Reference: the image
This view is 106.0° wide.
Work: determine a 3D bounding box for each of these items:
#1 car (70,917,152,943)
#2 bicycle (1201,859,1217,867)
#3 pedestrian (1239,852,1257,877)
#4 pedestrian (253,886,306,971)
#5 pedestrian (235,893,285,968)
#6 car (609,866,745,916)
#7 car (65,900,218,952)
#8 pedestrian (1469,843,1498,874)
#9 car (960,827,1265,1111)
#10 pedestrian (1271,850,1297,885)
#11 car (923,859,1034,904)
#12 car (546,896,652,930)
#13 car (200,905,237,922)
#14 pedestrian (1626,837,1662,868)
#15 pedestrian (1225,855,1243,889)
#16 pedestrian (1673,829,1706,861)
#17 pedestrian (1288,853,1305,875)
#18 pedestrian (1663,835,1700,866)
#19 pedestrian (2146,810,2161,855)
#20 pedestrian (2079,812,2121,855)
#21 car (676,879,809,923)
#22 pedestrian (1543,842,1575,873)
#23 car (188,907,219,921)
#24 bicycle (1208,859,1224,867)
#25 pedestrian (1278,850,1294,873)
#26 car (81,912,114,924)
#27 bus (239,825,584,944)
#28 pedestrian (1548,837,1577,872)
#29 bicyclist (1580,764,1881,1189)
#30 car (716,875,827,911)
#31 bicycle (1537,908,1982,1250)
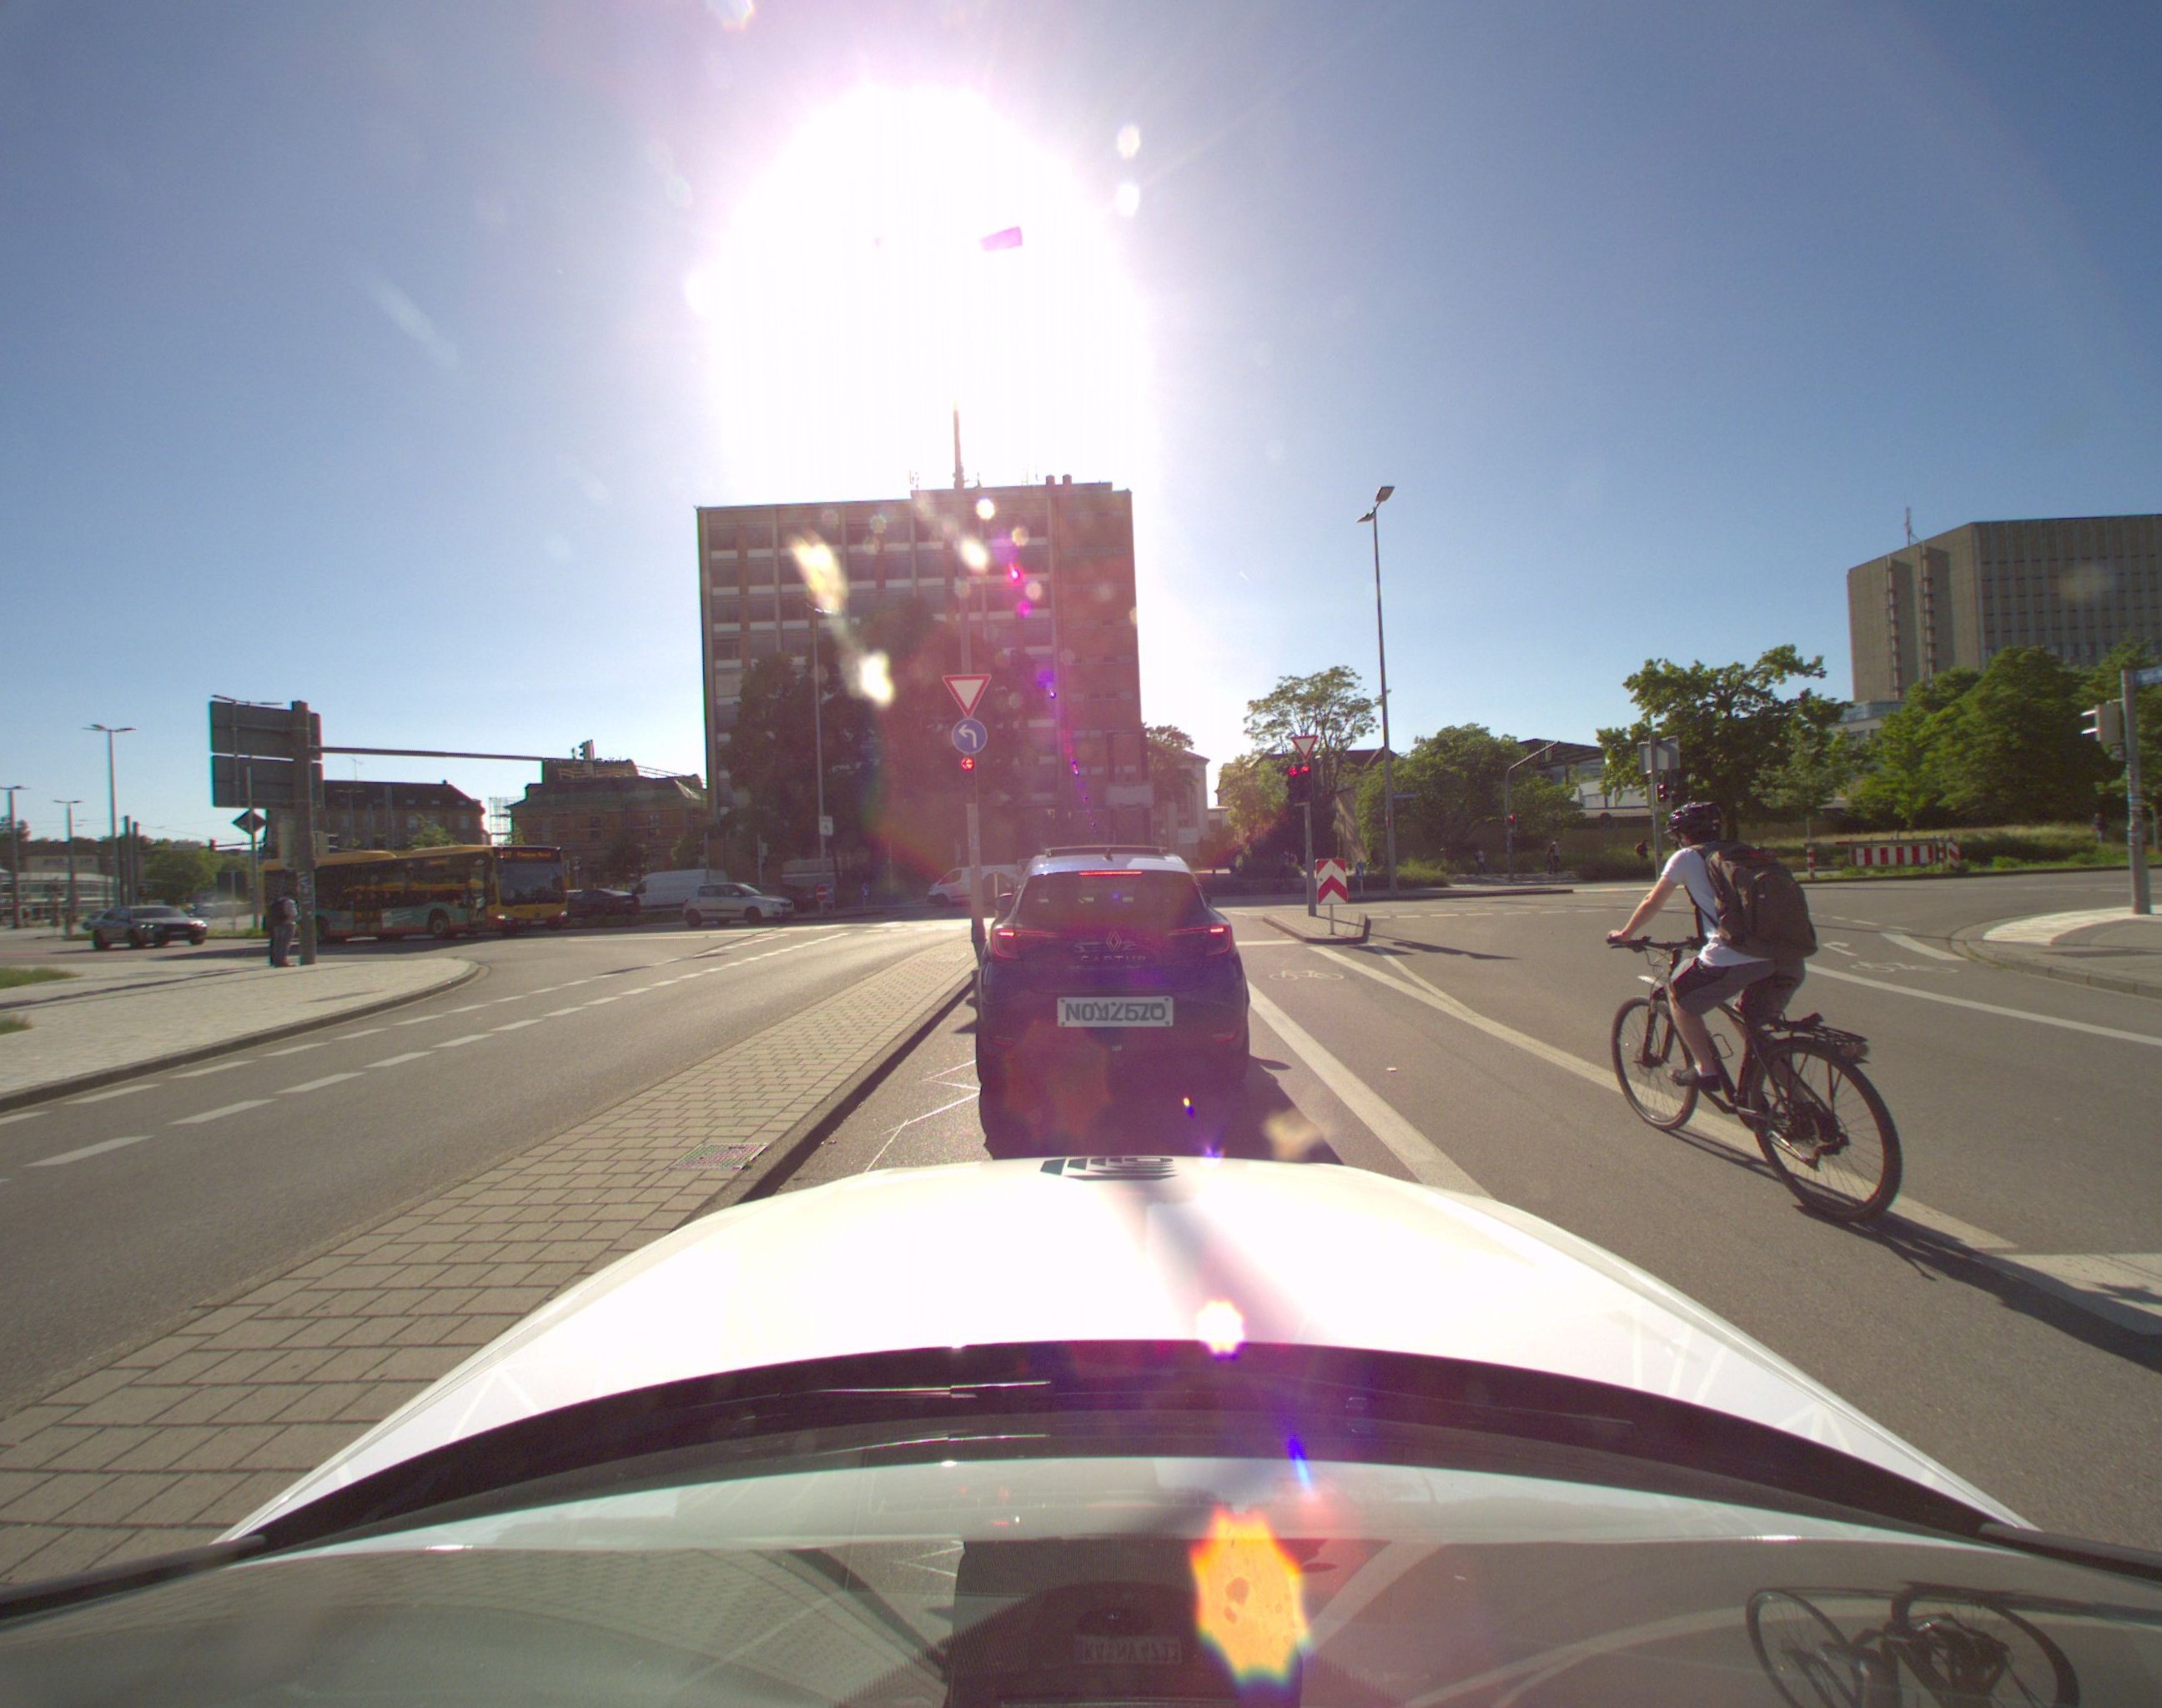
[{"bbox_3d":[-79.111,6.160,66.457,3.989,1.772,1.776,-2,0,-11],"label":"car"},{"bbox_3d":[15.554,1.078,99.000,1.764,0.893,0.766,-2,-1,2],"label":"bicycle"},{"bbox_3d":[13.927,0.896,67.977,1.152,2.013,1.165,-2,-1,2],"label":"pedestrian"},{"bbox_3d":[-18.199,1.680,18.496,0.673,1.855,0.608,-3,-1,25],"label":"pedestrian"},{"bbox_3d":[-19.216,1.780,19.068,0.627,1.697,0.608,-3,-1,25],"label":"pedestrian"},{"bbox_3d":[-23.399,2.120,47.208,6.877,2.547,3.028,-3,0,20],"label":"car"},{"bbox_3d":[-39.157,2.999,33.995,4.697,1.861,2.011,-3,-1,10],"label":"car"},{"bbox_3d":[20.741,0.216,41.989,1.078,1.521,0.933,-2,-1,11],"label":"pedestrian"},{"bbox_3d":[0.219,0.680,6.746,1.788,1.655,3.853,-1,0,1],"label":"car"},{"bbox_3d":[11.212,0.732,45.023,1.288,1.855,0.969,-3,-1,13],"label":"pedestrian"},{"bbox_3d":[-5.094,1.357,40.672,4.962,2.013,2.080,-3,0,14],"label":"car"},{"bbox_3d":[-24.671,2.980,41.648,4.986,1.673,2.010,-1,-3,22],"label":"car"},{"bbox_3d":[-91.660,6.301,86.524,3.948,1.582,2.013,-1,-1,33],"label":"car"},{"bbox_3d":[28.099,-0.073,40.657,1.140,1.521,0.944,-2,-1,7],"label":"pedestrian"},{"bbox_3d":[8.447,0.979,44.916,0.926,1.855,0.809,-3,-1,11],"label":"pedestrian"},{"bbox_3d":[30.579,-0.447,40.928,0.966,1.521,0.887,-2,-1,5],"label":"pedestrian"},{"bbox_3d":[16.703,0.778,63.125,0.932,1.613,1.176,-2,-1,2],"label":"pedestrian"},{"bbox_3d":[30.745,-0.195,41.702,1.123,1.521,0.992,-2,-1,5],"label":"pedestrian"},{"bbox_3d":[51.177,-1.024,38.129,1.181,2.079,0.983,-2,-1,5],"label":"pedestrian"},{"bbox_3d":[49.897,-0.991,39.890,0.891,2.079,0.814,-2,-1,5],"label":"pedestrian"},{"bbox_3d":[-11.700,1.625,28.240,3.817,1.403,1.899,-2,-3,14],"label":"car"},{"bbox_3d":[23.866,0.165,40.697,1.069,1.521,0.880,-2,-1,6],"label":"pedestrian"},{"bbox_3d":[-110.244,7.517,102.307,3.948,1.582,2.013,-1,-1,33],"label":"car"},{"bbox_3d":[15.698,1.025,94.630,1.764,0.898,0.766,-2,-1,2],"label":"bicycle"},{"bbox_3d":[16.035,0.607,63.694,0.949,1.741,0.984,-2,-1,2],"label":"pedestrian"},{"bbox_3d":[-135.775,8.784,112.458,2.009,1.389,3.955,-2,-1,-36],"label":"car"},{"bbox_3d":[-23.560,1.146,28.545,12.320,3.570,3.266,-3,-1,19],"label":"bus"},{"bbox_3d":[24.745,0.033,41.842,0.957,1.732,0.928,-2,-1,8],"label":"pedestrian"},{"bbox_3d":[3.035,0.519,3.918,0.674,1.785,0.939,-1,-1,0],"label":"bicyclist"},{"bbox_3d":[-15.518,1.955,40.852,4.805,1.582,2.110,-3,0,16],"label":"car"},{"bbox_3d":[3.031,0.894,3.939,0.613,1.138,1.826,-2,0,0],"label":"bicycle"}]
